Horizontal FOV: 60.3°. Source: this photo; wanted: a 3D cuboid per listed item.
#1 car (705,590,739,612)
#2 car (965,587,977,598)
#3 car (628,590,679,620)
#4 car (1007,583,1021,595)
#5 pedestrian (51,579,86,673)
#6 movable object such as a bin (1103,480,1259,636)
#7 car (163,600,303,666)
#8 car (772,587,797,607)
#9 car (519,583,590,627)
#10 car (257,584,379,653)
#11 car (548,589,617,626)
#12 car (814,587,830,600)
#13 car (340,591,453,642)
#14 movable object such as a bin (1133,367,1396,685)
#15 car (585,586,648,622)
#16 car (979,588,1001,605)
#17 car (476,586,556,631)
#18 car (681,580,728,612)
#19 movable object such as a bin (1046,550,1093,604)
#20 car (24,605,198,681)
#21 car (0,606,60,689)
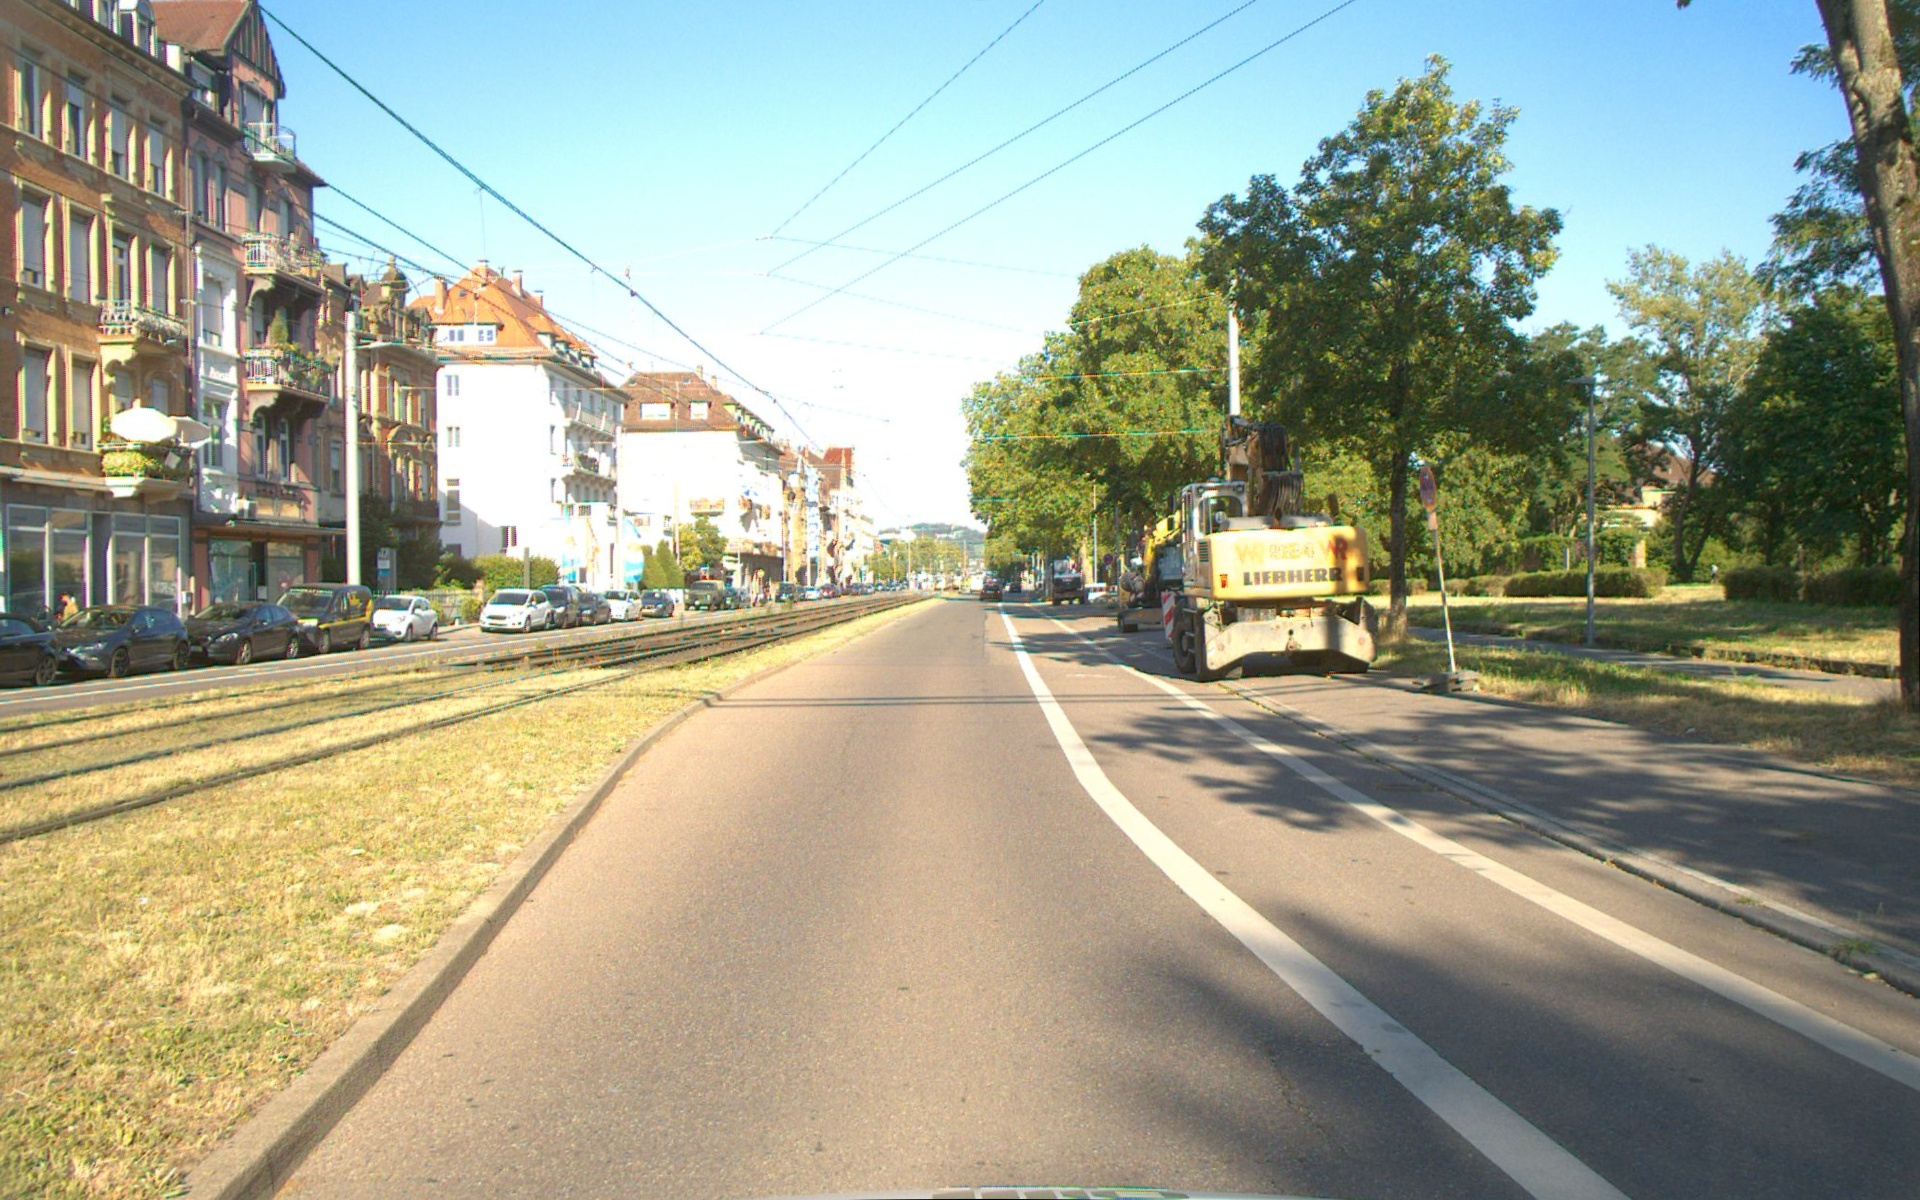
[{"bbox_3d":[-16.995,0.099,118.286,1.601,1.534,4.160,0,0,3],"label":"car"},{"bbox_3d":[1.605,-1.099,242.762,1.757,1.537,4.000,1,0,0],"label":"car"},{"bbox_3d":[-17.127,0.257,92.625,1.882,1.486,4.842,4,1,-1],"label":"car"},{"bbox_3d":[7.142,-1.433,220.528,1.757,1.536,4.000,0,0,0],"label":"car"},{"bbox_3d":[-19.590,0.563,36.348,0.627,2.049,0.869,1,-1,-29],"label":"pedestrian"},{"bbox_3d":[6.378,-1.191,49.080,3.271,4.045,7.597,-4,0,-1],"label":"movable object such as a bin"},{"bbox_3d":[-17.758,0.776,40.587,1.625,1.471,3.981,1,0,1],"label":"car"},{"bbox_3d":[-16.413,-0.284,155.005,1.824,1.817,4.402,1,1,0],"label":"car"},{"bbox_3d":[-17.611,0.192,71.972,1.881,1.812,4.499,1,1,1],"label":"car"},{"bbox_3d":[-17.958,0.473,46.468,1.626,1.839,4.728,1,0,-1],"label":"car"},{"bbox_3d":[-17.537,0.320,77.082,1.880,1.588,4.844,1,1,3],"label":"car"},{"bbox_3d":[-16.081,-0.811,193.052,1.797,1.415,4.033,2,0,-4],"label":"car"},{"bbox_3d":[-18.230,0.501,53.779,1.880,1.565,4.629,0,0,3],"label":"car"},{"bbox_3d":[5.073,-1.166,29.168,2.855,4.690,7.597,-4,0,-1],"label":"movable object such as a bin"},{"bbox_3d":[-17.295,0.165,83.503,1.880,1.724,4.844,1,1,3],"label":"car"},{"bbox_3d":[2.561,-0.317,140.256,1.795,1.415,4.159,0,0,0],"label":"car"},{"bbox_3d":[-17.826,0.323,66.571,1.881,1.713,4.628,1,1,1],"label":"car"},{"bbox_3d":[-17.255,-0.289,112.020,2.034,2.045,5.594,1,0,3],"label":"car"},{"bbox_3d":[7.130,-1.512,108.565,2.688,3.200,7.221,-4,1,2],"label":"movable object such as a bin"},{"bbox_3d":[-18.142,0.883,35.541,1.625,1.471,3.981,1,0,1],"label":"car"},{"bbox_3d":[-18.353,0.878,30.162,1.625,1.471,3.981,1,0,1],"label":"car"}]
